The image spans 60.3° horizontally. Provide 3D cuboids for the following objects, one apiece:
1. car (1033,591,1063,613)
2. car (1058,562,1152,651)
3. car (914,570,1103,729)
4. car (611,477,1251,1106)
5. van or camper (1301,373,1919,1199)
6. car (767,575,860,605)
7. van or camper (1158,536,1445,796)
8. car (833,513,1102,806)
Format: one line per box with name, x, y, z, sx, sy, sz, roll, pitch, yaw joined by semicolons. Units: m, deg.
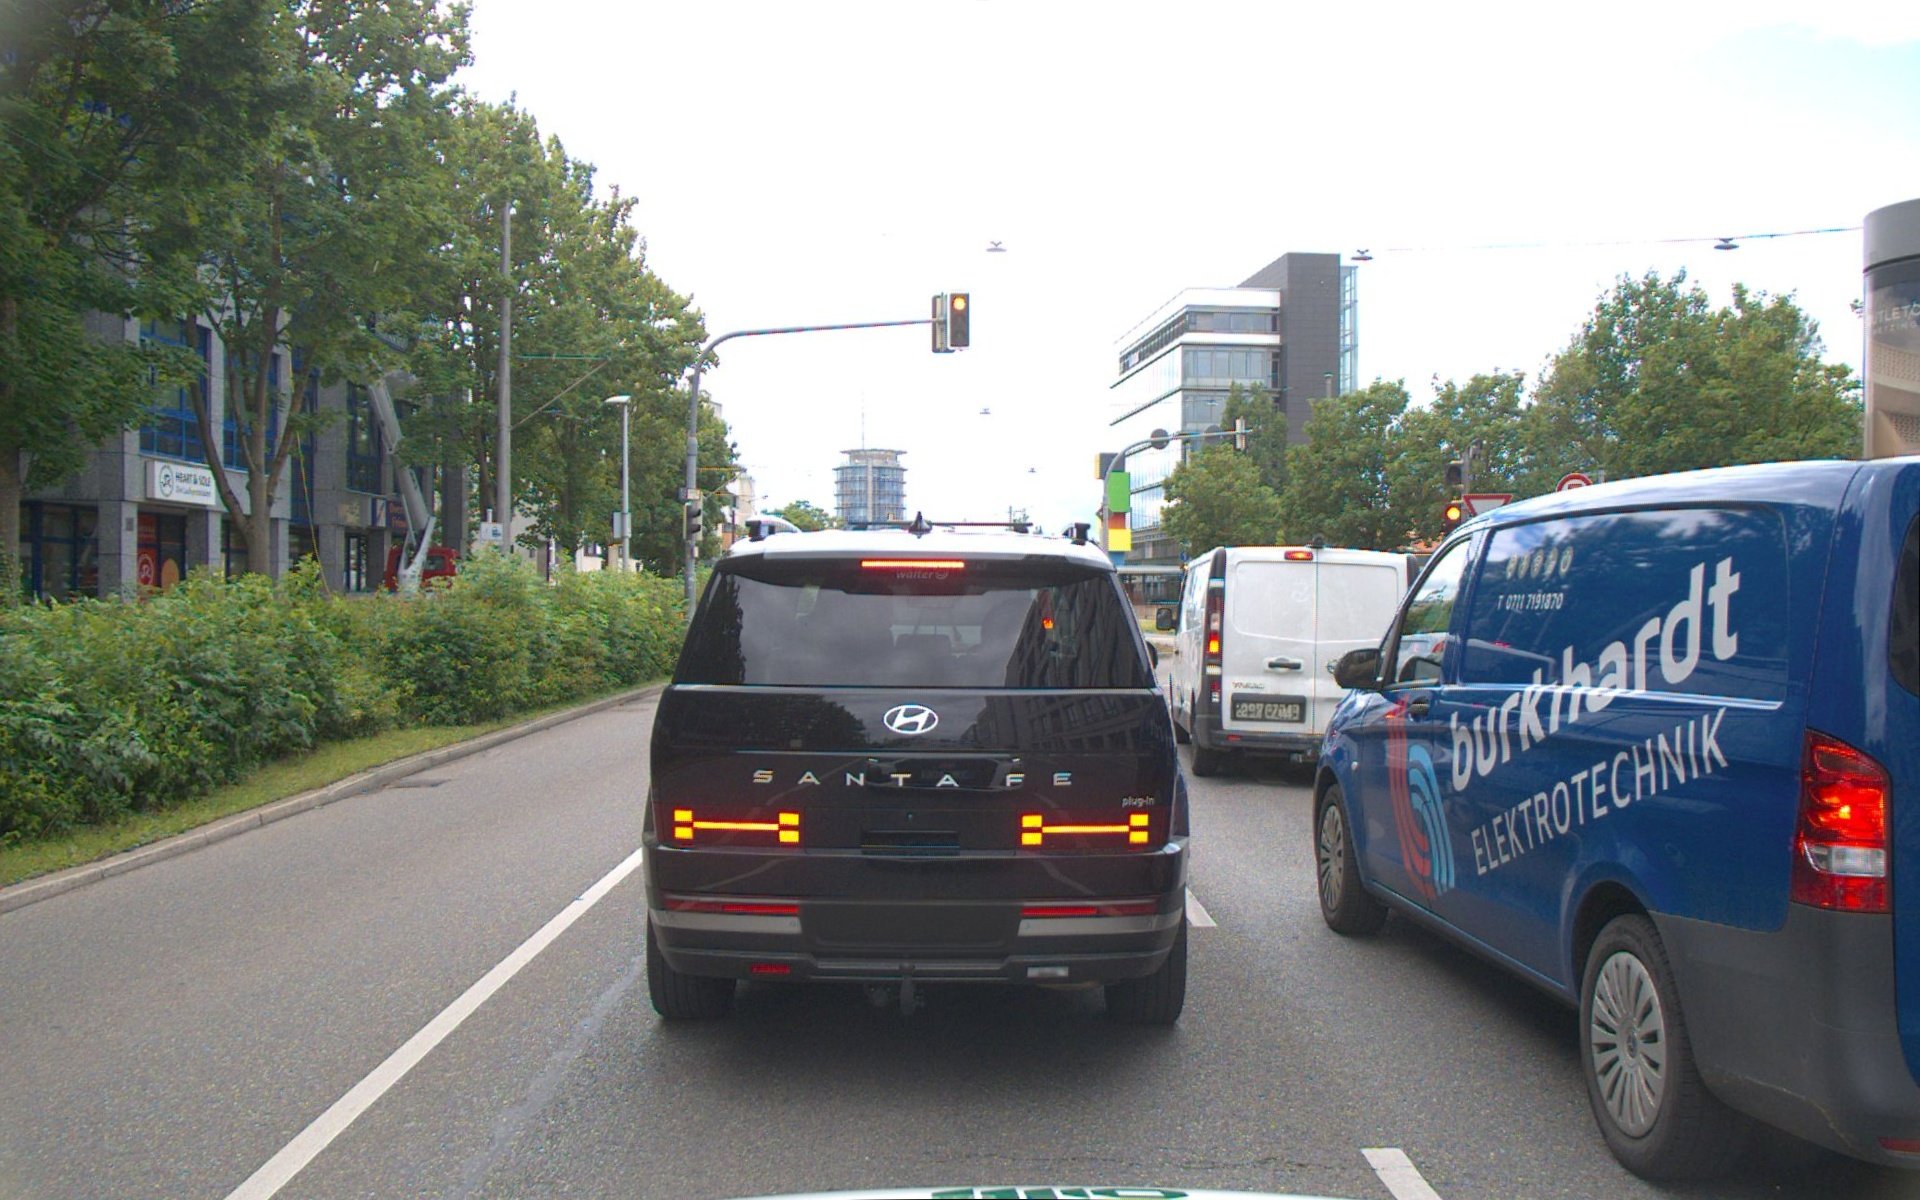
car;7.004;0.157;131.909;1.954;1.713;3.997;1;0;-3
car;3.501;0.171;40.512;1.952;2.049;4.000;1;0;0
car;0.716;0.560;20.496;1.738;1.747;4.342;1;0;10
car;-0.104;0.536;6.670;1.831;1.791;3.879;0;0;-1
van or camper;2.652;0.514;5.789;1.822;1.944;5.031;0;0;-1
car;-8.350;-0.560;94.184;5.180;1.624;1.997;1;-1;-6
van or camper;3.007;0.514;15.540;1.952;2.049;4.654;1;0;3
car;0.022;0.407;13.465;1.876;2.038;3.879;0;0;-1
